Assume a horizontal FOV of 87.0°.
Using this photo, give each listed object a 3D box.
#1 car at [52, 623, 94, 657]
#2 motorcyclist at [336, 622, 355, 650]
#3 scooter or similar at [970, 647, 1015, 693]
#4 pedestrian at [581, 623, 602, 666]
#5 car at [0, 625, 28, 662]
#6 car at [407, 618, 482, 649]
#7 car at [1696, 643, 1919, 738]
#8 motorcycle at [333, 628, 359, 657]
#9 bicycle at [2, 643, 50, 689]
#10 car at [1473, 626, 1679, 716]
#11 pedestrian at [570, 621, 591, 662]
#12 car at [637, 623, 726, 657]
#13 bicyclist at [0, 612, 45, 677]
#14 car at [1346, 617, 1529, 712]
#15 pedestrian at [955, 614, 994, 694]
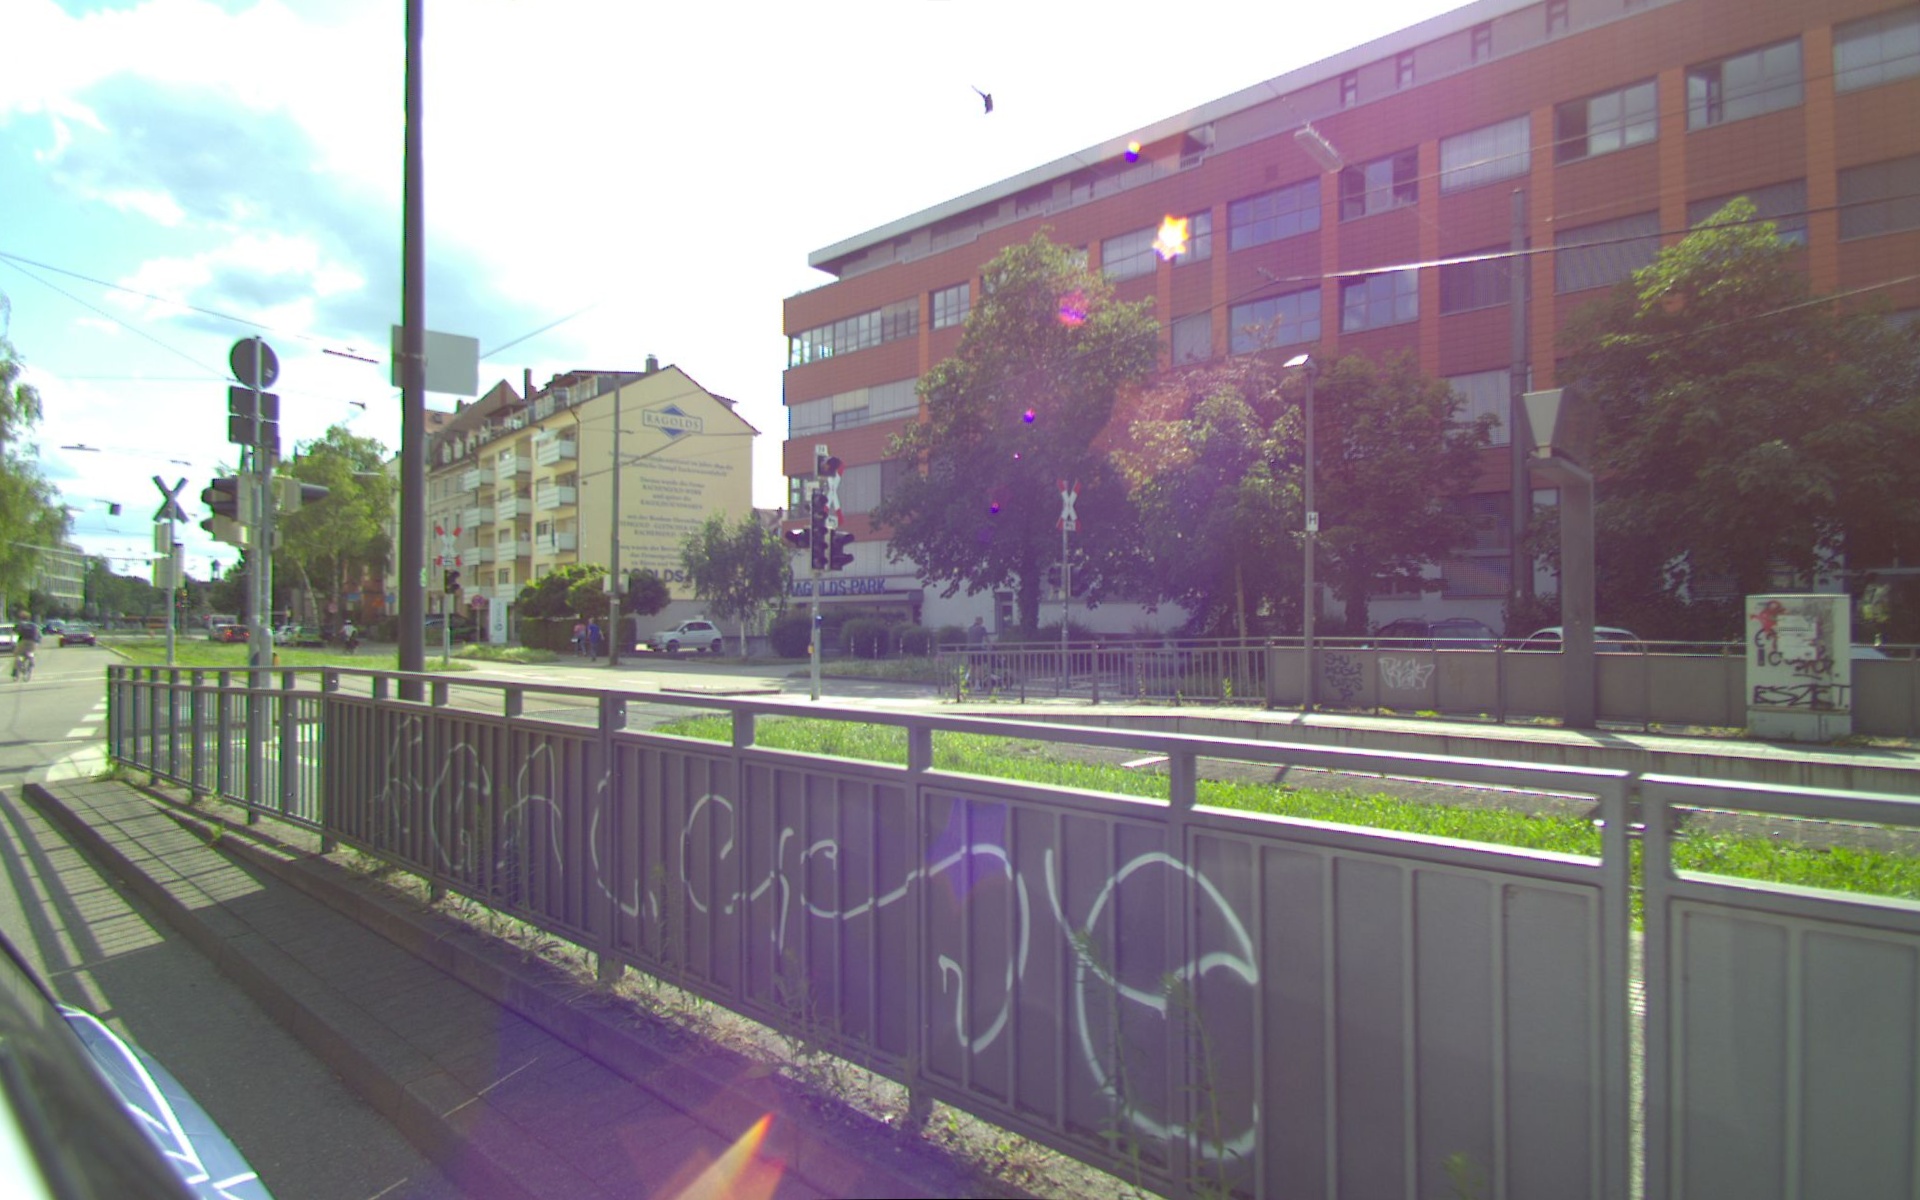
[{"bbox_3d":[-57.181,2.524,65.256,1.969,2.029,4.005,-1,0,-42],"label":"car"},{"bbox_3d":[-31.069,1.820,51.159,0.693,1.368,0.654,-1,0,44],"label":"motorcyclist"},{"bbox_3d":[0.783,1.657,24.043,0.619,1.063,0.976,-1,-4,36],"label":"scooter or similar"},{"bbox_3d":[-14.713,1.776,40.417,0.481,1.723,0.641,-2,-2,42],"label":"pedestrian"},{"bbox_3d":[-45.703,2.057,48.134,3.815,1.627,1.823,0,0,44],"label":"car"},{"bbox_3d":[-35.100,2.278,68.940,4.194,2.029,2.003,1,-2,-40],"label":"car"},{"bbox_3d":[13.666,1.370,16.205,1.584,1.314,3.246,0,-2,6],"label":"car"},{"bbox_3d":[-31.040,2.145,51.175,2.010,1.414,0.626,0,0,44],"label":"motorcycle"},{"bbox_3d":[-25.445,1.770,27.558,2.571,1.112,0.762,-1,2,44],"label":"bicycle"},{"bbox_3d":[11.430,1.256,19.122,1.630,1.508,3.995,0,-2,4],"label":"car"},{"bbox_3d":[-16.360,1.778,43.654,0.588,1.723,0.641,-2,-2,42],"label":"pedestrian"},{"bbox_3d":[-12.975,1.859,47.232,3.557,1.491,1.777,1,-5,-42],"label":"car"},{"bbox_3d":[-25.505,1.203,27.524,0.951,1.686,0.762,-2,2,44],"label":"bicyclist"},{"bbox_3d":[9.221,1.200,19.930,1.851,1.671,3.840,0,-2,2],"label":"car"},{"bbox_3d":[0.334,1.245,23.461,0.619,1.807,0.651,-2,-4,36],"label":"pedestrian"}]
